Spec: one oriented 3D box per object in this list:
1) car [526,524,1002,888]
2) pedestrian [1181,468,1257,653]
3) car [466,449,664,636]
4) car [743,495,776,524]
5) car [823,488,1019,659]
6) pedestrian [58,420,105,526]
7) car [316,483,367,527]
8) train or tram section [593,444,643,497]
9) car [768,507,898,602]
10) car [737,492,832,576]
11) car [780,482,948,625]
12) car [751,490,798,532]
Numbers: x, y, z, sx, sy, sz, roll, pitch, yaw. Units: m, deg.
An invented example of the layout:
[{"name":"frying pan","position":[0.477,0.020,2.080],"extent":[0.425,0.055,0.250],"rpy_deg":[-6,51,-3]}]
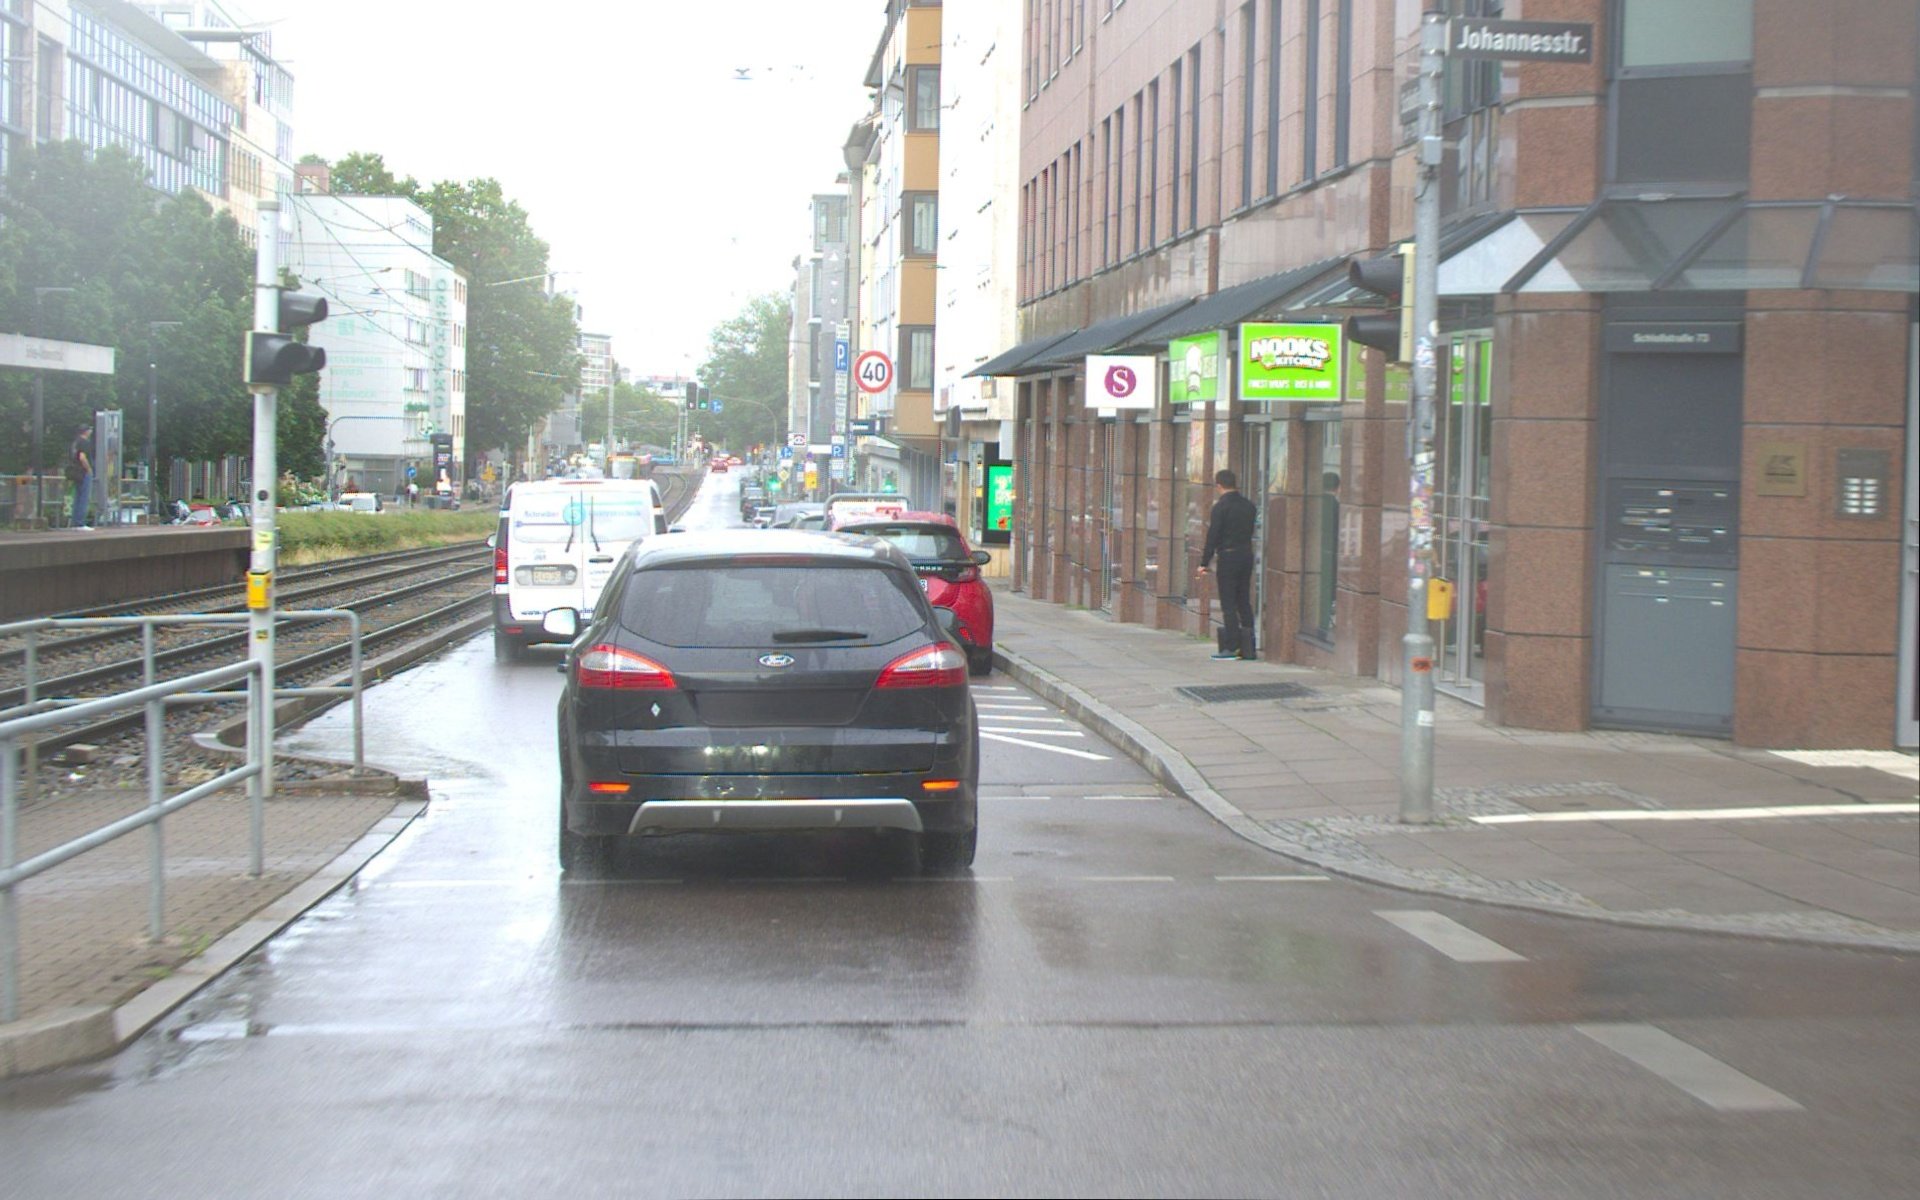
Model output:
[{"name":"car","position":[-0.887,0.401,15.589],"extent":[1.906,1.457,3.445],"rpy_deg":[0,1,-3]},{"name":"pedestrian","position":[2.344,-0.359,31.143],"extent":[0.601,1.653,0.625],"rpy_deg":[0,1,-3]},{"name":"car","position":[-4.279,-0.614,36.707],"extent":[1.906,1.858,4.575],"rpy_deg":[0,1,-9]},{"name":"car","position":[-11.833,-5.335,203.016],"extent":[1.906,1.627,4.574],"rpy_deg":[0,1,-3]},{"name":"car","position":[-0.423,-0.271,32.568],"extent":[1.698,1.474,3.867],"rpy_deg":[-2,1,-2]},{"name":"pedestrian","position":[-15.047,-2.177,58.889],"extent":[0.655,1.795,0.850],"rpy_deg":[0,1,-6]},{"name":"car","position":[-26.871,-4.108,149.353],"extent":[1.906,1.858,4.575],"rpy_deg":[0,1,-7]},{"name":"train or tram section","position":[-25.278,-9.541,253.902],"extent":[3.512,3.764,11.334],"rpy_deg":[0,2,-6]},{"name":"car","position":[-2.087,-0.768,55.350],"extent":[1.773,1.463,4.610],"rpy_deg":[0,2,-6]},{"name":"car","position":[-3.594,-1.355,69.788],"extent":[1.807,1.626,5.170],"rpy_deg":[0,2,-4]},{"name":"car","position":[-1.110,-0.527,38.134],"extent":[1.698,1.457,3.868],"rpy_deg":[-2,1,-3]},{"name":"car","position":[-7.605,-3.641,141.155],"extent":[1.906,1.627,4.574],"rpy_deg":[0,1,-3]}]
